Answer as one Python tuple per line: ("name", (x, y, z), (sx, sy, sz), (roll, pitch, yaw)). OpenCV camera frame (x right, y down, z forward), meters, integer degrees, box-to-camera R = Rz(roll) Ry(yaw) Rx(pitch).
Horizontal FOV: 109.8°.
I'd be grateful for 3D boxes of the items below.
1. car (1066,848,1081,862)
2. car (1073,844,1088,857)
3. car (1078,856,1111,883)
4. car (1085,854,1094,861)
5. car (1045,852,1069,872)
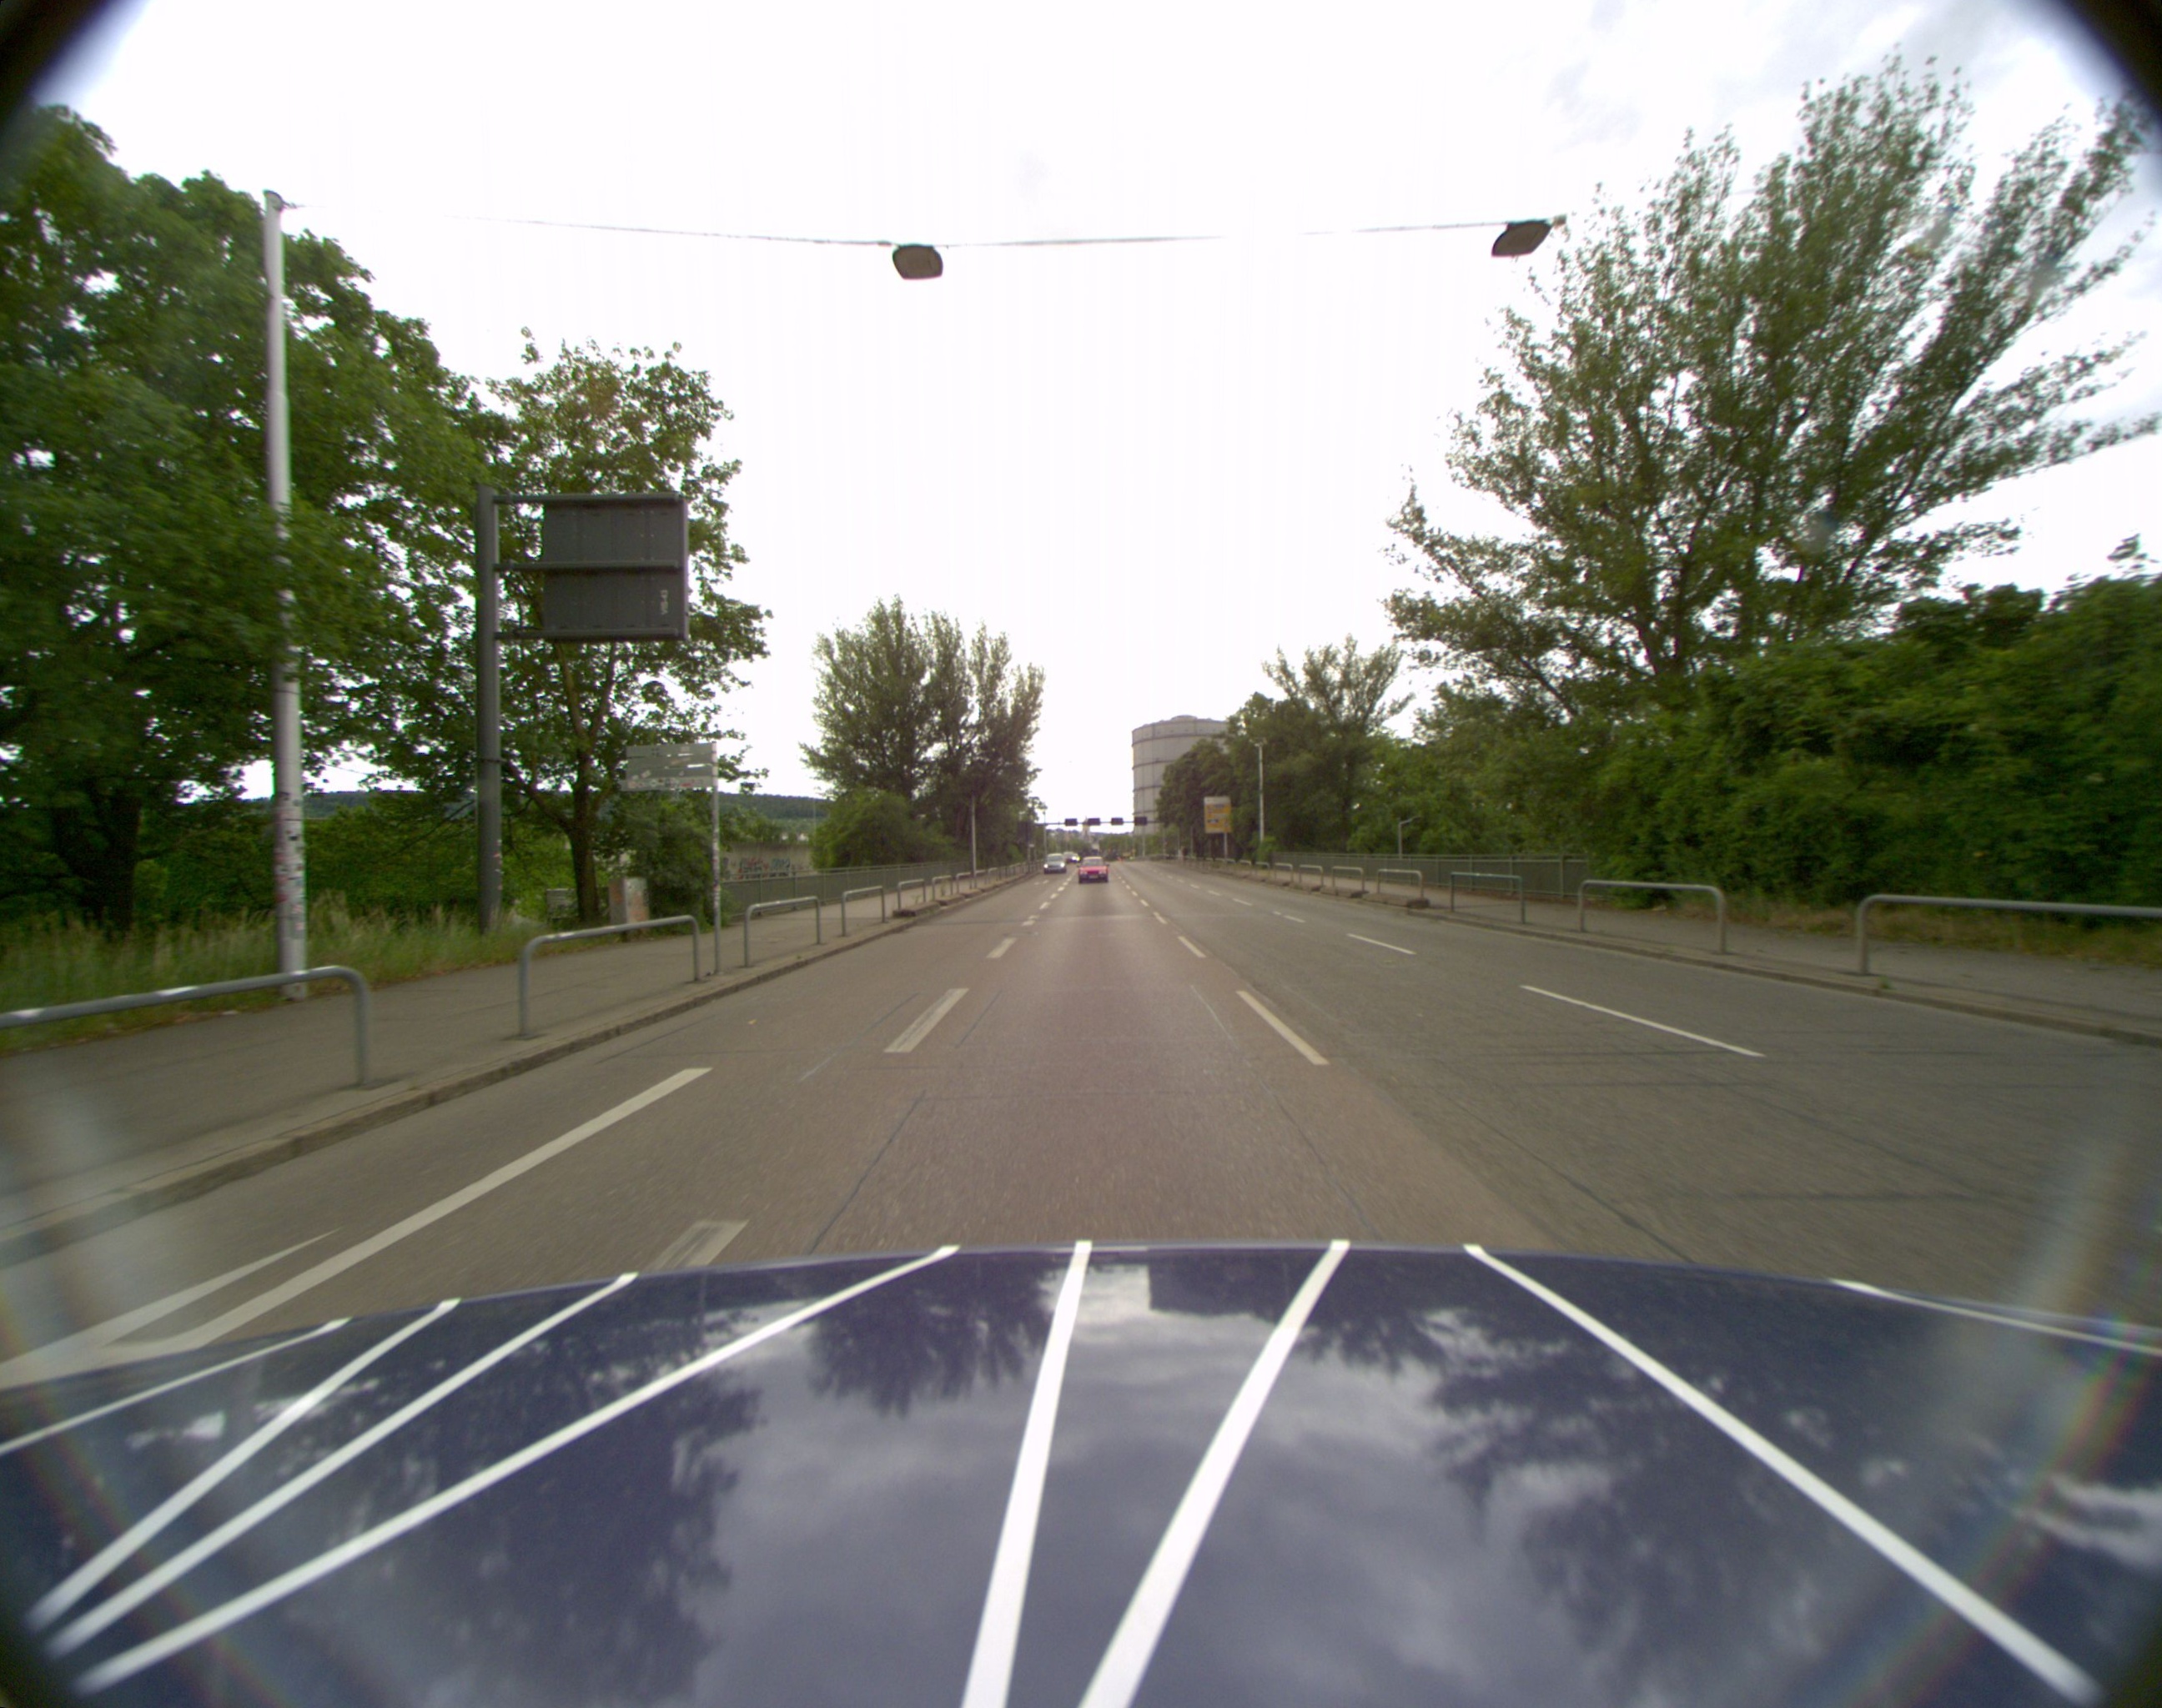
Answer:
("car", (-0.873, 0.132, 95.422), (1.776, 1.696, 4.000), (-3, 0, 0))
("car", (-0.064, -0.517, 111.887), (1.998, 1.775, 4.001), (-1, 0, 2))
("car", (0.748, 0.814, 42.038), (1.696, 1.434, 4.000), (0, 0, 1))
("car", (2.233, 0.920, 205.884), (1.998, 1.792, 4.001), (-3, 1, 4))
("car", (-1.942, 0.612, 63.273), (1.771, 1.565, 4.000), (-1, 1, 1))
